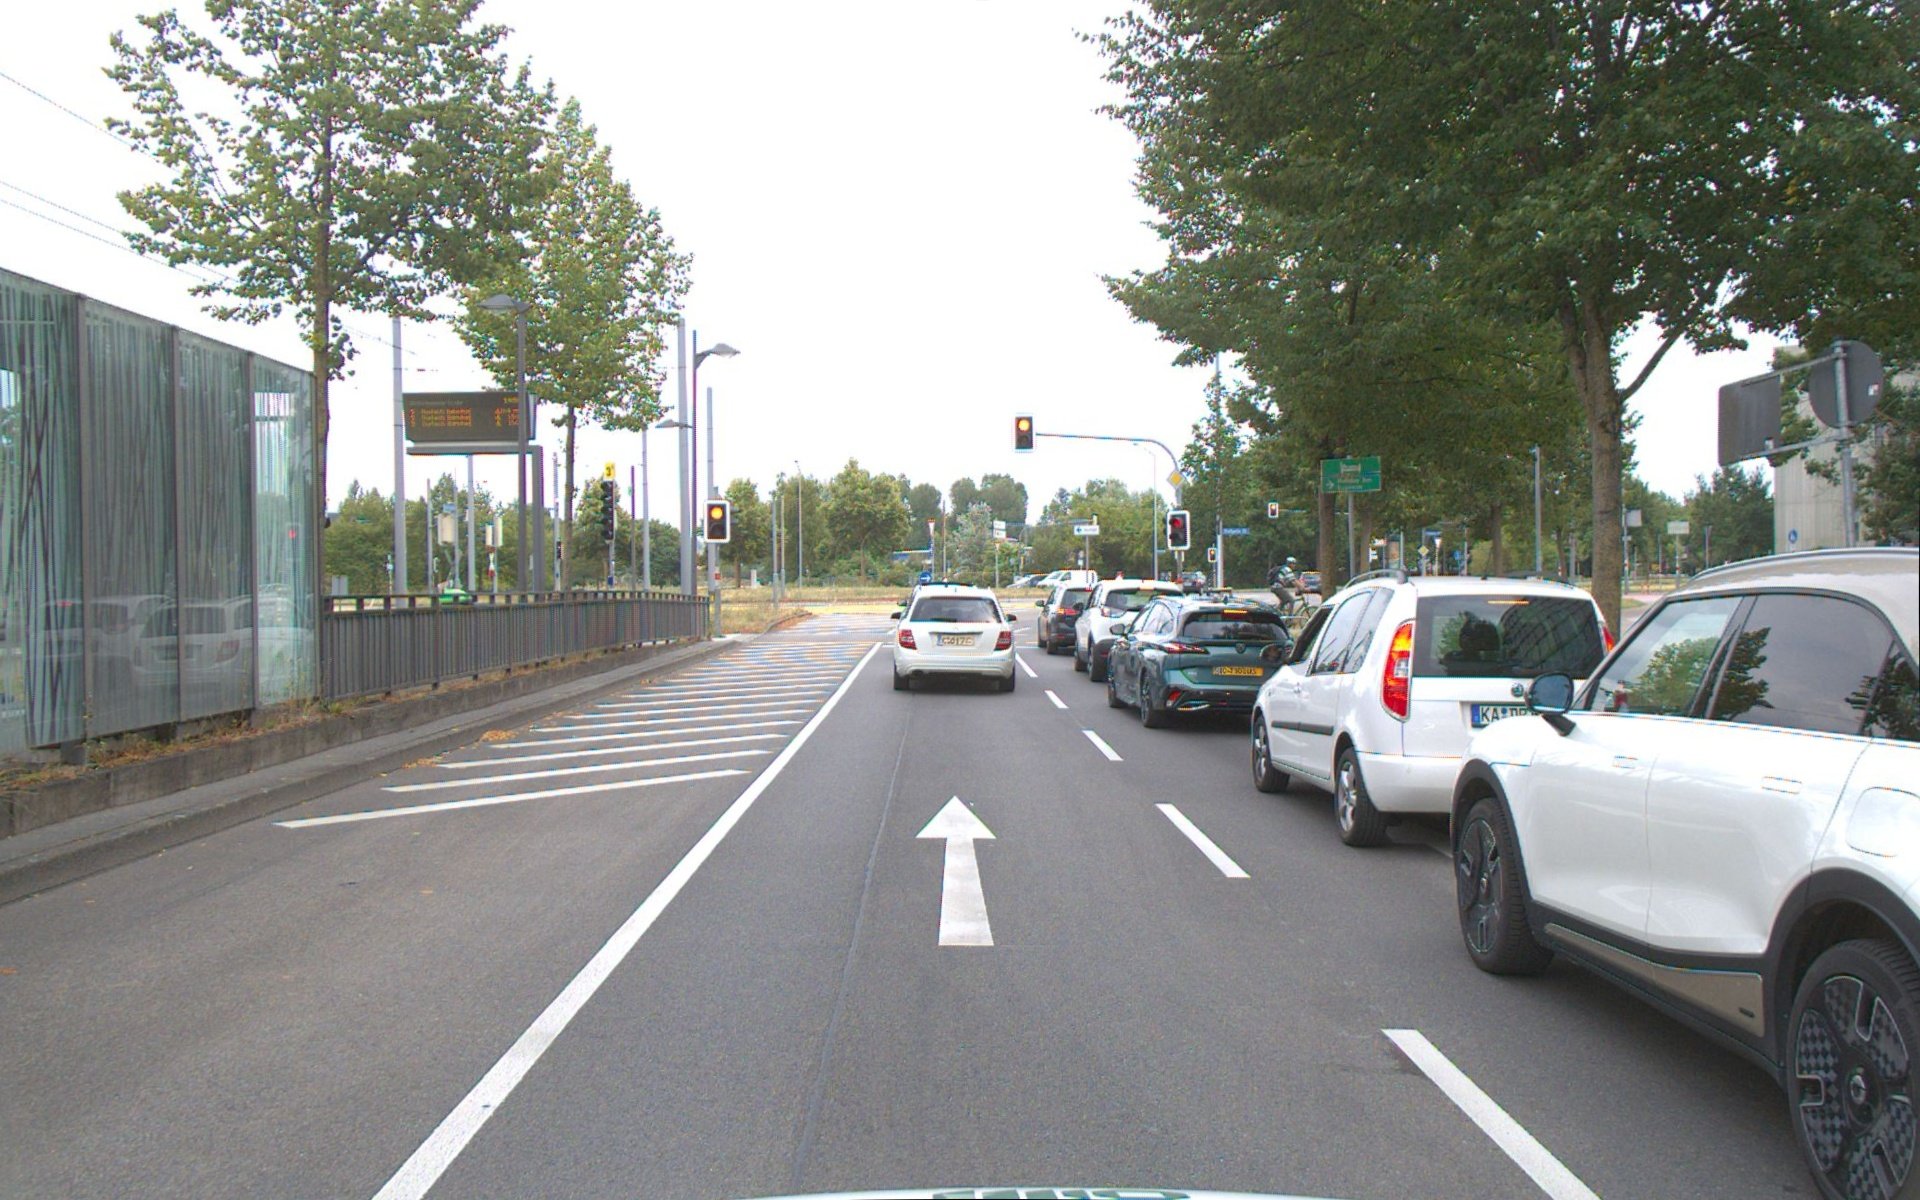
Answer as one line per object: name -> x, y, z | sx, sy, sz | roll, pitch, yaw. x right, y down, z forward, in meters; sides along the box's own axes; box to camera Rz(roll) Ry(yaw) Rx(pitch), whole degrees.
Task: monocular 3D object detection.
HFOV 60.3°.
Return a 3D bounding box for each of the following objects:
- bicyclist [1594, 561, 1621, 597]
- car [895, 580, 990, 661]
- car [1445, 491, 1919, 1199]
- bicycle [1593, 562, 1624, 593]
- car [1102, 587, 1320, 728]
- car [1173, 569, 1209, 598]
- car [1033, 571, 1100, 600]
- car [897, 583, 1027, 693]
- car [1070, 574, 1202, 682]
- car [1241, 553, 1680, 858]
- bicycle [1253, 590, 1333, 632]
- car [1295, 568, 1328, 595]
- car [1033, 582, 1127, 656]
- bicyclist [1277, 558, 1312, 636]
bicyclist -> 32.660, -1.055, 83.431 | 0.849, 1.820, 1.174 | 1, 1, -2
car -> -0.398, 0.356, 32.597 | 1.738, 1.474, 3.909 | 1, 1, -2
car -> 3.008, 0.595, 5.178 | 1.742, 1.685, 4.023 | 1, 1, -1
bicycle -> 32.677, -1.121, 83.360 | 0.691, 1.532, 2.006 | 1, 0, -3
car -> 2.834, 0.590, 19.594 | 1.751, 1.457, 4.309 | 0, 1, -3
car -> 15.211, -1.050, 109.119 | 1.952, 1.822, 4.002 | 2, 0, 3
car -> 7.921, -1.091, 122.849 | 4.952, 2.049, 1.971 | -1, 1, -40
car -> -0.047, 0.495, 24.427 | 1.738, 1.474, 3.909 | 1, 1, -2
car -> 2.857, 0.407, 27.585 | 1.751, 1.653, 3.910 | -1, 1, 0
car -> 3.154, 0.569, 11.305 | 1.742, 1.685, 4.023 | -1, 1, -1
bicycle -> 8.356, 0.273, 41.503 | 1.895, 1.001, 0.564 | -1, 1, -2
car -> 21.975, -1.169, 103.473 | 1.745, 1.664, 4.406 | -1, 1, 9
car -> 2.524, 0.370, 35.539 | 1.592, 1.474, 3.909 | 1, 1, -2
bicyclist -> 8.390, -0.075, 41.486 | 0.714, 1.918, 0.734 | -1, 1, -2
